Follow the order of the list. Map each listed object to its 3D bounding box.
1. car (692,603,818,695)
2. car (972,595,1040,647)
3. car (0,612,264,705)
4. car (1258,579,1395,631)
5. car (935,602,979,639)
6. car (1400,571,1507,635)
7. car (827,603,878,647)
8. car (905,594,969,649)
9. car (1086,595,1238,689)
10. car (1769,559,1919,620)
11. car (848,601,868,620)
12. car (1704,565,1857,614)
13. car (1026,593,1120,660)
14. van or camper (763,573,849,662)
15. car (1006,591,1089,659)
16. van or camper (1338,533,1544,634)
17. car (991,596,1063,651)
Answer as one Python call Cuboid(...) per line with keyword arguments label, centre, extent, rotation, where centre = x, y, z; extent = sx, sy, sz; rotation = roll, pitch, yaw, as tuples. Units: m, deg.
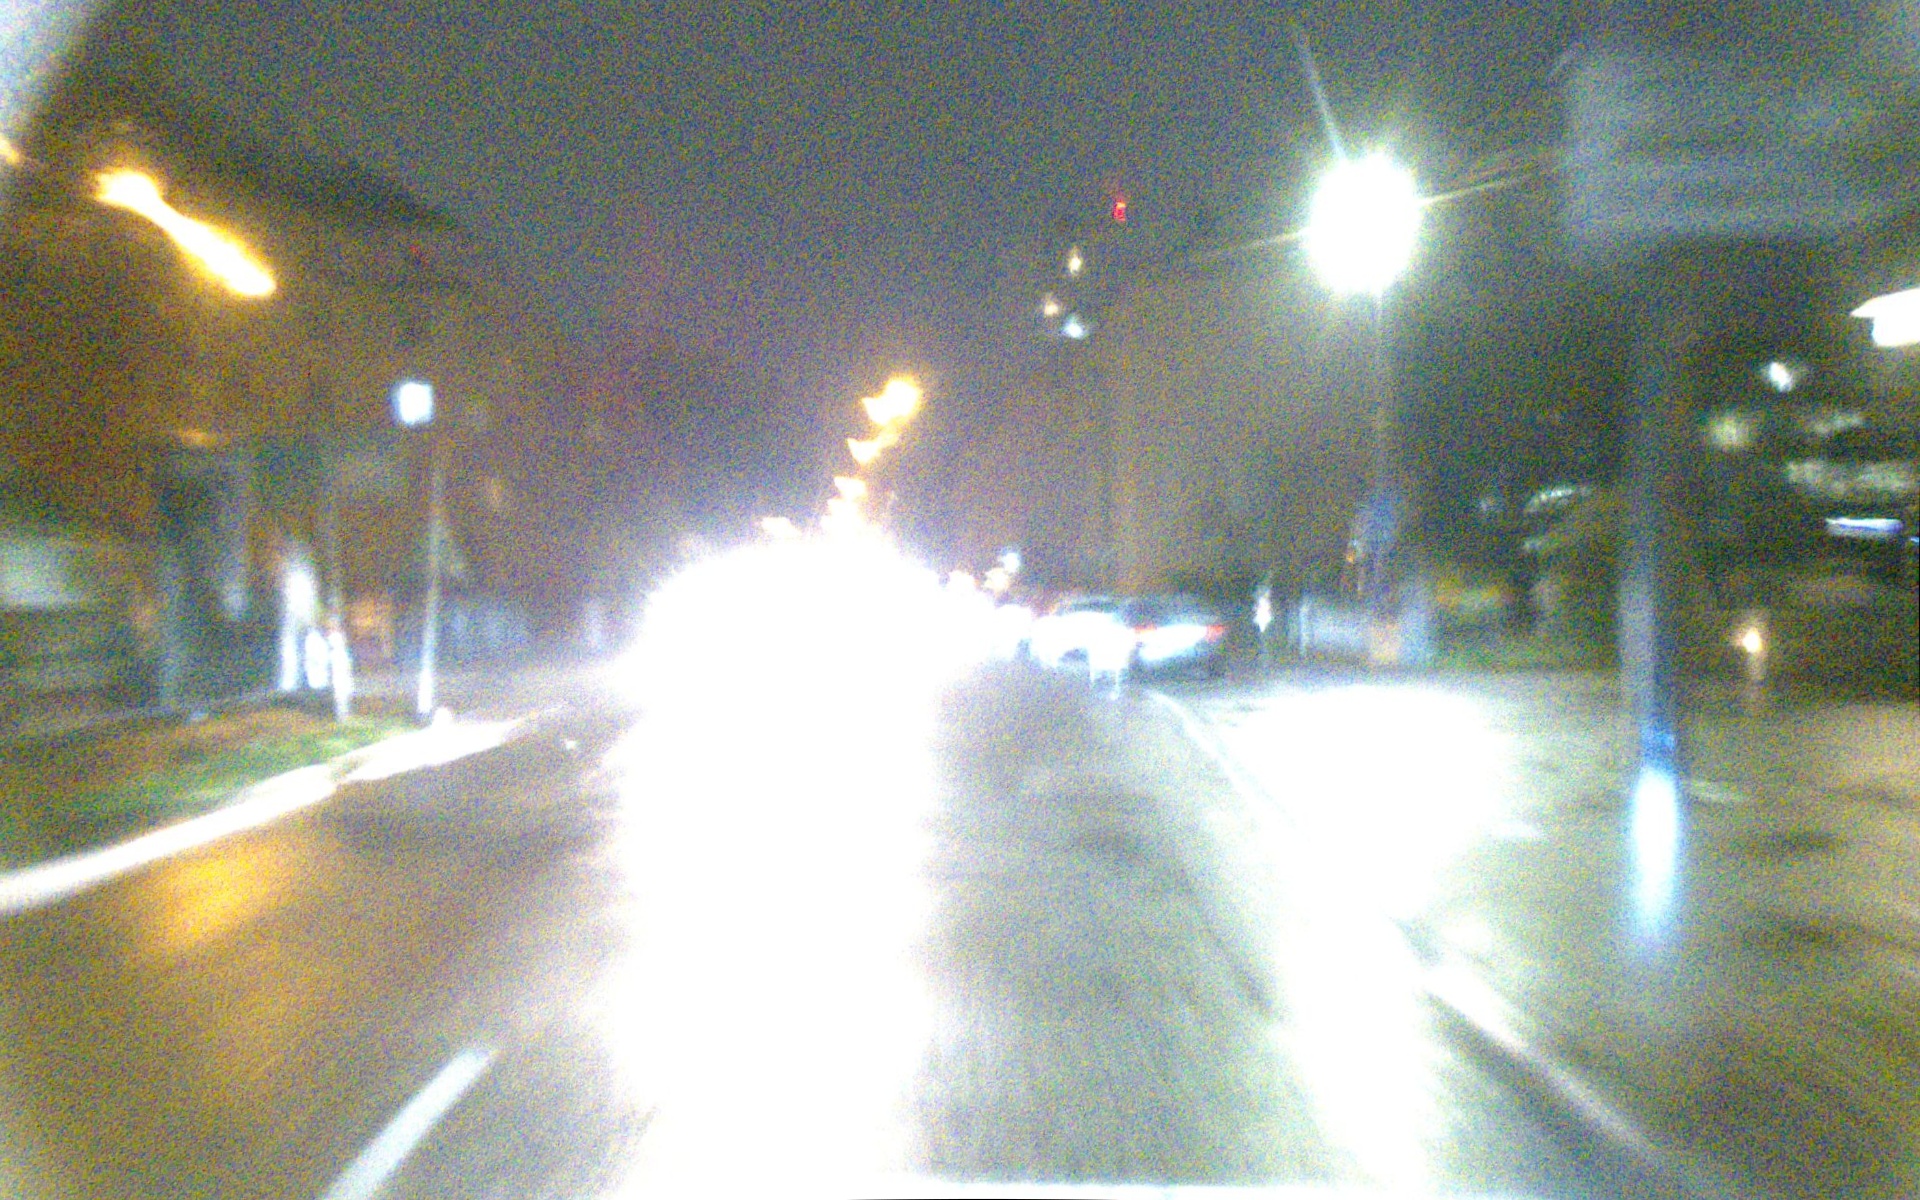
Cuboid(label="car", centre=(-3.553, 0.816, 29.305), extent=(1.709, 1.458, 3.999), rotation=(-2, 0, 0))
Cuboid(label="car", centre=(1.563, 0.711, 57.880), extent=(1.844, 1.600, 4.524), rotation=(-3, 1, -4))
Cuboid(label="car", centre=(-16.630, 1.148, 33.007), extent=(4.595, 1.647, 1.999), rotation=(-2, 0, -2))
Cuboid(label="car", centre=(11.658, 0.141, 52.730), extent=(3.909, 1.547, 1.684), rotation=(-1, 0, -5))
Cuboid(label="car", centre=(-0.167, 0.884, 73.822), extent=(1.596, 1.492, 4.506), rotation=(-3, 0, -4))
Cuboid(label="car", centre=(12.290, 0.060, 41.375), extent=(1.531, 1.495, 3.406), rotation=(-1, 0, -2))
Cuboid(label="car", centre=(-3.908, 0.885, 60.432), extent=(1.760, 1.487, 4.575), rotation=(1, 0, -3))
Cuboid(label="car", centre=(-0.807, 0.690, 54.562), extent=(1.954, 1.713, 3.998), rotation=(-1, -1, -3))
Cuboid(label="car", centre=(3.549, 0.697, 29.928), extent=(1.755, 1.474, 4.786), rotation=(-3, 0, -4))
Cuboid(label="car", centre=(22.210, -0.257, 41.543), extent=(1.644, 1.438, 4.260), rotation=(-1, 0, 0))
Cuboid(label="car", centre=(-9.865, 1.015, 159.569), extent=(1.777, 1.739, 3.800), rotation=(-3, 0, -5))
Cuboid(label="car", centre=(25.095, -0.326, 50.649), extent=(3.909, 1.377, 1.680), rotation=(-1, 0, -5))
Cuboid(label="car", centre=(2.741, 0.627, 40.993), extent=(1.679, 1.515, 4.432), rotation=(-2, 0, -4))
Cuboid(label="van or camper", centre=(-3.917, 0.425, 42.682), extent=(1.832, 2.140, 4.941), rotation=(-1, 0, -1))
Cuboid(label="car", centre=(2.429, 0.660, 46.841), extent=(1.680, 1.737, 4.182), rotation=(-3, 1, -6))
Cuboid(label="van or camper", centre=(13.090, -0.449, 45.255), extent=(4.959, 2.571, 2.171), rotation=(-1, 0, -1))
Cuboid(label="car", centre=(2.091, 0.719, 52.697), extent=(1.720, 1.555, 4.149), rotation=(-3, 1, -5))
